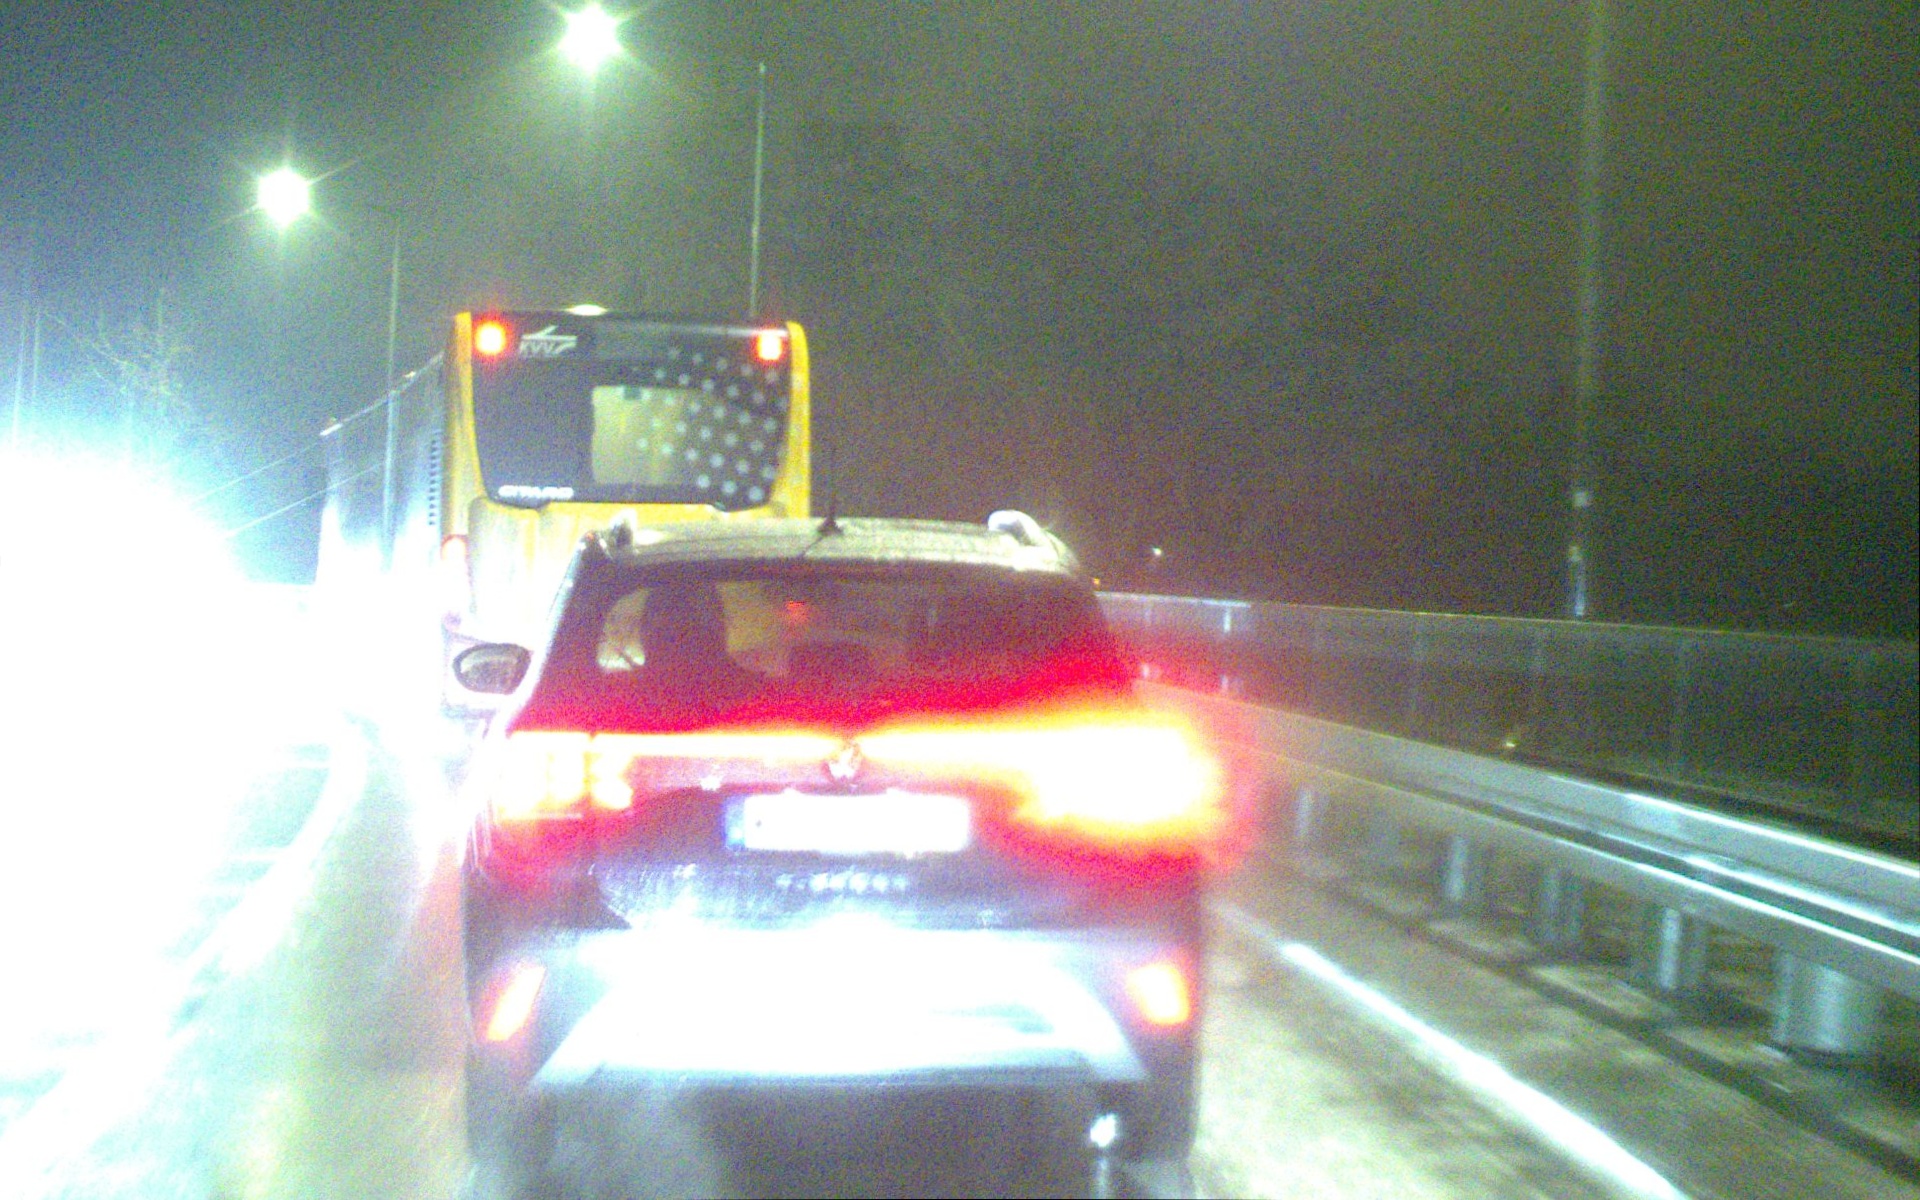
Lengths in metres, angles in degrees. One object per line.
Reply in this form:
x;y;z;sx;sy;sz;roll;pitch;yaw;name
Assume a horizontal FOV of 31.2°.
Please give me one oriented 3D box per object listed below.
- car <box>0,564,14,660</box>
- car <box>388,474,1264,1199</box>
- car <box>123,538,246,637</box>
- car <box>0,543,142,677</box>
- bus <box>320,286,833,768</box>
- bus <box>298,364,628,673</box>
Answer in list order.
-17.741;0.188;59.474;1.792;1.625;3.993;0;0;-28;car
-0.383;0.506;9.309;1.855;1.581;4.000;0;1;-3;car
-14.057;-0.209;62.208;1.636;1.650;3.710;-1;-1;-20;car
-12.270;0.104;46.471;1.778;1.698;4.315;-1;1;-21;car
-3.646;-0.610;28.773;3.082;3.122;12.701;-1;1;-12;bus
-5.815;-0.899;39.009;3.048;3.121;8.081;0;1;-13;bus
